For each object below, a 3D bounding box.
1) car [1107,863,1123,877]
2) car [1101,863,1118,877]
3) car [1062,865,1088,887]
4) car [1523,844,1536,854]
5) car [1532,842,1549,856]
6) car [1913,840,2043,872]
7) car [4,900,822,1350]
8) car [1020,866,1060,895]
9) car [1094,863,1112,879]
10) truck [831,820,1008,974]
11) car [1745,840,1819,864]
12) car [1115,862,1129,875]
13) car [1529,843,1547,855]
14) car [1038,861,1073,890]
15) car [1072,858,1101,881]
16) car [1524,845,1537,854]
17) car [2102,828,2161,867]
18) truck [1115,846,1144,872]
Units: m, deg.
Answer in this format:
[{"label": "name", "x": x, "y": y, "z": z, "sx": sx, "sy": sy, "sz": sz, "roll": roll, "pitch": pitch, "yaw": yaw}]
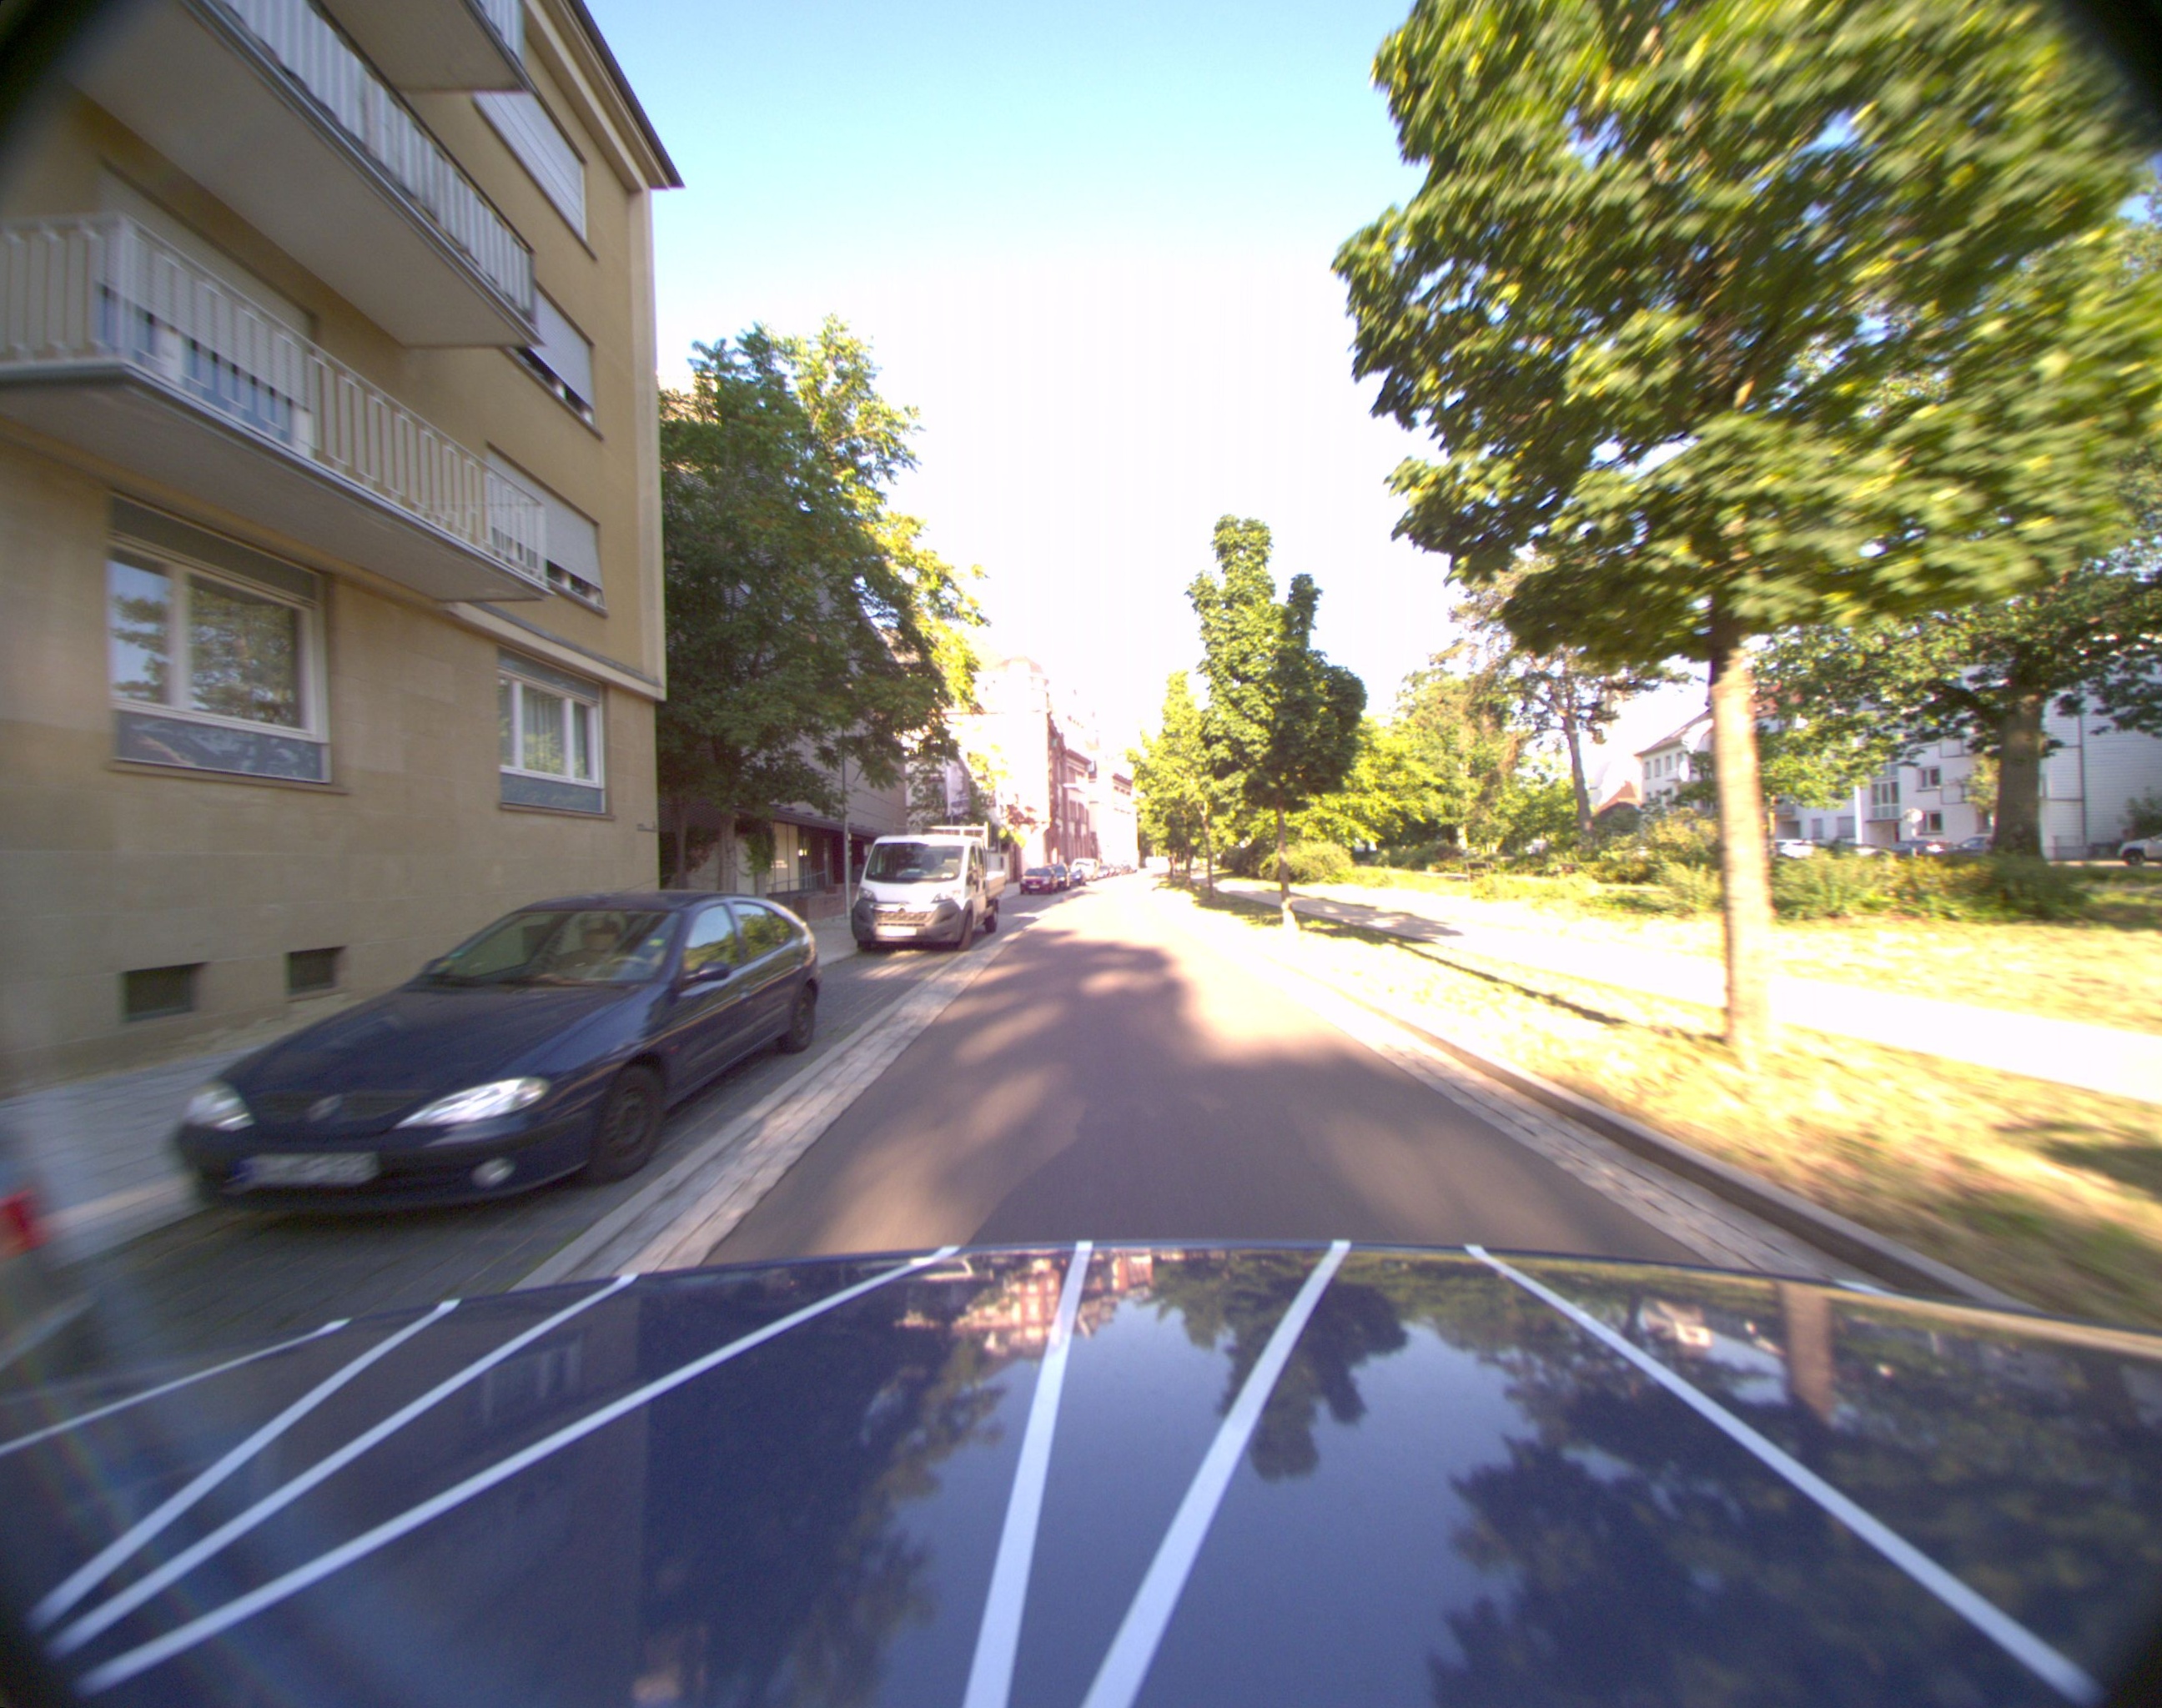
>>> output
[{"label": "car", "x": 3.932, "y": 1.835, "z": 87.963, "sx": 1.583, "sy": 1.499, "sz": 3.848, "roll": -1, "pitch": 0, "yaw": 6}, {"label": "car", "x": 3.153, "y": 1.734, "z": 82.928, "sx": 1.583, "sy": 1.499, "sz": 3.848, "roll": -1, "pitch": 0, "yaw": 6}, {"label": "car", "x": -0.397, "y": 1.603, "z": 55.506, "sx": 1.509, "sy": 1.437, "sz": 3.731, "roll": -1, "pitch": 0, "yaw": 5}, {"label": "car", "x": 79.273, "y": -0.863, "z": 134.386, "sx": 1.886, "sy": 1.565, "sz": 4.606, "roll": -1, "pitch": 2, "yaw": 29}, {"label": "car", "x": 74.422, "y": -0.861, "z": 123.117, "sx": 1.886, "sy": 2.114, "sz": 4.606, "roll": -1, "pitch": 2, "yaw": 26}, {"label": "car", "x": 47.144, "y": 0.061, "z": 40.099, "sx": 1.888, "sy": 1.565, "sz": 4.601, "roll": -1, "pitch": 1, "yaw": 9}, {"label": "car", "x": -3.148, "y": 1.129, "z": 4.831, "sx": 1.707, "sy": 1.412, "sz": 4.035, "roll": 1, "pitch": 0, "yaw": -2}, {"label": "car", "x": -2.102, "y": 1.332, "z": 39.680, "sx": 1.610, "sy": 1.349, "sz": 3.549, "roll": -1, "pitch": 0, "yaw": 5}, {"label": "car", "x": 2.221, "y": 1.711, "z": 77.086, "sx": 1.583, "sy": 1.499, "sz": 3.848, "roll": -1, "pitch": 0, "yaw": 5}, {"label": "truck", "x": -3.047, "y": 0.728, "z": 16.232, "sx": 2.133, "sy": 2.549, "sz": 6.877, "roll": -1, "pitch": 0, "yaw": 1}, {"label": "car", "x": 50.070, "y": -0.174, "z": 54.384, "sx": 1.887, "sy": 1.565, "sz": 4.603, "roll": -1, "pitch": 1, "yaw": 14}, {"label": "car", "x": 5.138, "y": 1.817, "z": 94.931, "sx": 1.583, "sy": 1.499, "sz": 3.848, "roll": -1, "pitch": 0, "yaw": 6}, {"label": "car", "x": 66.298, "y": -0.683, "z": 110.241, "sx": 1.886, "sy": 1.565, "sz": 4.606, "roll": -1, "pitch": 1, "yaw": 26}, {"label": "car", "x": -1.464, "y": 1.230, "z": 45.170, "sx": 1.610, "sy": 1.608, "sz": 3.952, "roll": -1, "pitch": 0, "yaw": 5}, {"label": "car", "x": 0.569, "y": 1.363, "z": 67.967, "sx": 2.119, "sy": 1.942, "sz": 4.763, "roll": -1, "pitch": 0, "yaw": 6}, {"label": "car", "x": 82.911, "y": -0.831, "z": 140.146, "sx": 1.886, "sy": 1.565, "sz": 4.607, "roll": -1, "pitch": 2, "yaw": 30}, {"label": "car", "x": 45.627, "y": -0.269, "z": 31.011, "sx": 1.889, "sy": 1.565, "sz": 4.599, "roll": -1, "pitch": 1, "yaw": 4}, {"label": "truck", "x": 6.740, "y": 0.698, "z": 104.516, "sx": 3.018, "sy": 3.422, "sz": 7.629, "roll": -1, "pitch": 0, "yaw": 10}]
